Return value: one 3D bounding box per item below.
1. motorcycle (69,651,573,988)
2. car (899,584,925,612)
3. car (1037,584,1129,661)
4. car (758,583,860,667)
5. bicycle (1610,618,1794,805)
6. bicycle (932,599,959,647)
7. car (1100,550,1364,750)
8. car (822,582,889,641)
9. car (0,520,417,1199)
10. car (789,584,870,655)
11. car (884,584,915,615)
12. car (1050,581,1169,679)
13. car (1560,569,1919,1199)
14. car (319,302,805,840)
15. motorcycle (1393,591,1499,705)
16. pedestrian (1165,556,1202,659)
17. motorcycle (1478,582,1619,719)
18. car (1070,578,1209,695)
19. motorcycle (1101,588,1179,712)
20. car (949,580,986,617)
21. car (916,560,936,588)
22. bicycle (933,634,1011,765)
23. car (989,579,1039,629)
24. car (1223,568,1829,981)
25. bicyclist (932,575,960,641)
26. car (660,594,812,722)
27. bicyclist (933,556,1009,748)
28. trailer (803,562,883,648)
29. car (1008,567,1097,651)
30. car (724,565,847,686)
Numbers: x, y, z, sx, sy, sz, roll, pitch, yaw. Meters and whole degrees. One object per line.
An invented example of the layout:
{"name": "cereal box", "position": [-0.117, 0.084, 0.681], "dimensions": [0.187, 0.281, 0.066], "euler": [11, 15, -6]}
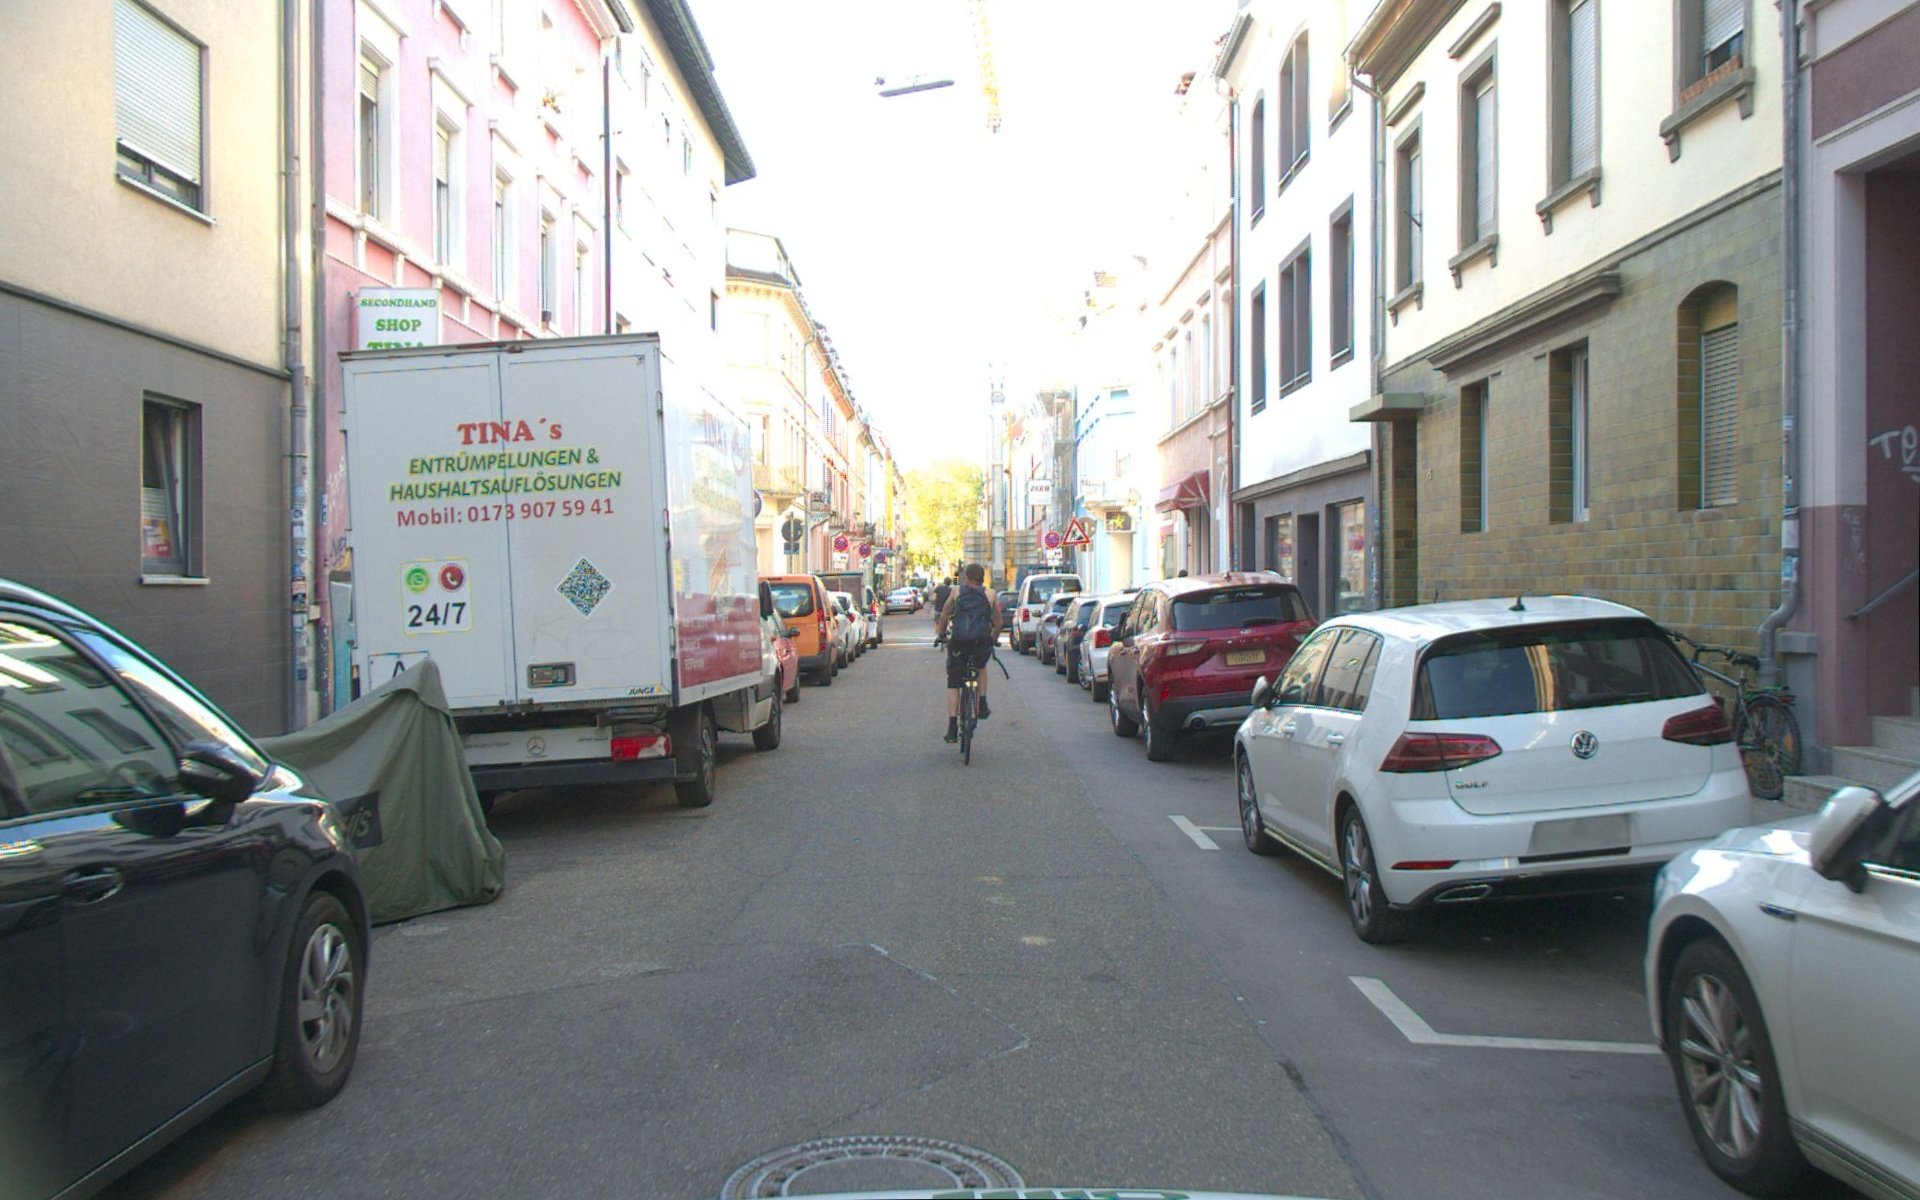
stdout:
{"name": "motorcycle", "position": [-2.970, 0.944, 7.902], "dimensions": [0.777, 1.275, 2.096], "euler": [-2, 1, 40]}
{"name": "car", "position": [-3.275, -0.127, 114.024], "dimensions": [1.714, 1.853, 3.795], "euler": [-1, 0, -1]}
{"name": "car", "position": [2.576, 0.460, 35.394], "dimensions": [1.714, 1.513, 3.800], "euler": [-1, 0, 1]}
{"name": "car", "position": [-3.020, 0.479, 33.856], "dimensions": [1.714, 1.564, 4.318], "euler": [-1, 0, -1]}
{"name": "bicycle", "position": [5.172, 0.737, 11.634], "dimensions": [0.510, 1.194, 1.685], "euler": [1, 0, -1]}
{"name": "bicycle", "position": [-0.352, 0.545, 40.289], "dimensions": [0.635, 1.149, 2.135], "euler": [1, 0, -1]}
{"name": "car", "position": [2.582, 0.419, 16.757], "dimensions": [1.879, 1.735, 4.365], "euler": [-1, 0, -1]}
{"name": "car", "position": [-2.985, 0.317, 47.908], "dimensions": [1.714, 1.600, 3.795], "euler": [-1, 0, -1]}
{"name": "car", "position": [-2.666, 0.725, 3.393], "dimensions": [1.682, 1.679, 4.245], "euler": [-3, 1, -1]}
{"name": "car", "position": [-3.019, 0.437, 38.848], "dimensions": [1.620, 1.564, 3.633], "euler": [-1, 0, -1]}
{"name": "car", "position": [-3.545, -0.017, 96.962], "dimensions": [1.714, 1.713, 3.795], "euler": [-1, 0, -1]}
{"name": "car", "position": [2.581, 0.497, 29.398], "dimensions": [1.613, 1.500, 3.970], "euler": [-4, 0, -1]}
{"name": "car", "position": [2.772, 0.698, 2.863], "dimensions": [1.662, 1.570, 4.628], "euler": [-2, 0, -1]}
{"name": "car", "position": [-2.881, -0.187, 14.154], "dimensions": [2.296, 3.349, 7.154], "euler": [-2, 0, 0]}
{"name": "motorcycle", "position": [5.074, 0.479, 17.364], "dimensions": [0.491, 1.114, 1.878], "euler": [-3, 0, -1]}
{"name": "pedestrian", "position": [4.522, 0.151, 33.520], "dimensions": [0.631, 2.049, 0.763], "euler": [1, 0, -1]}
{"name": "motorcycle", "position": [5.193, 0.420, 14.693], "dimensions": [0.547, 1.114, 1.776], "euler": [-3, 0, -1]}
{"name": "car", "position": [2.620, 0.510, 24.919], "dimensions": [1.633, 1.531, 3.816], "euler": [-3, 0, 0]}
{"name": "motorcycle", "position": [2.302, 0.612, 21.402], "dimensions": [0.731, 1.516, 2.421], "euler": [1, 0, 0]}
{"name": "car", "position": [0.302, -0.049, 73.957], "dimensions": [1.578, 1.587, 3.609], "euler": [1, 0, -1]}
{"name": "car", "position": [-2.943, -2.259, 144.129], "dimensions": [1.714, 2.358, 3.795], "euler": [-1, 0, -1]}
{"name": "bicycle", "position": [0.090, 0.880, 15.275], "dimensions": [0.663, 1.093, 1.941], "euler": [1, 0, -1]}
{"name": "car", "position": [1.862, 0.141, 57.852], "dimensions": [1.578, 1.662, 3.609], "euler": [1, 0, -1]}
{"name": "car", "position": [2.580, 0.692, 8.607], "dimensions": [1.652, 1.570, 4.045], "euler": [-2, 0, -1]}
{"name": "bicyclist", "position": [-0.343, 0.196, 40.180], "dimensions": [0.657, 1.594, 0.716], "euler": [1, 0, -2]}
{"name": "car", "position": [-2.966, 0.731, 22.484], "dimensions": [1.546, 1.509, 3.564], "euler": [-3, 0, -1]}
{"name": "bicyclist", "position": [0.092, 0.464, 15.306], "dimensions": [0.654, 1.706, 1.097], "euler": [1, 0, -1]}
{"name": "trailer", "position": [-3.046, 0.123, 43.593], "dimensions": [1.843, 2.129, 3.736], "euler": [-1, 0, -1]}
{"name": "car", "position": [2.203, 0.215, 40.453], "dimensions": [1.715, 1.911, 3.970], "euler": [-1, 0, -3]}
{"name": "car", "position": [-2.927, 0.409, 28.468], "dimensions": [1.717, 1.848, 4.077], "euler": [-2, 0, -1]}
